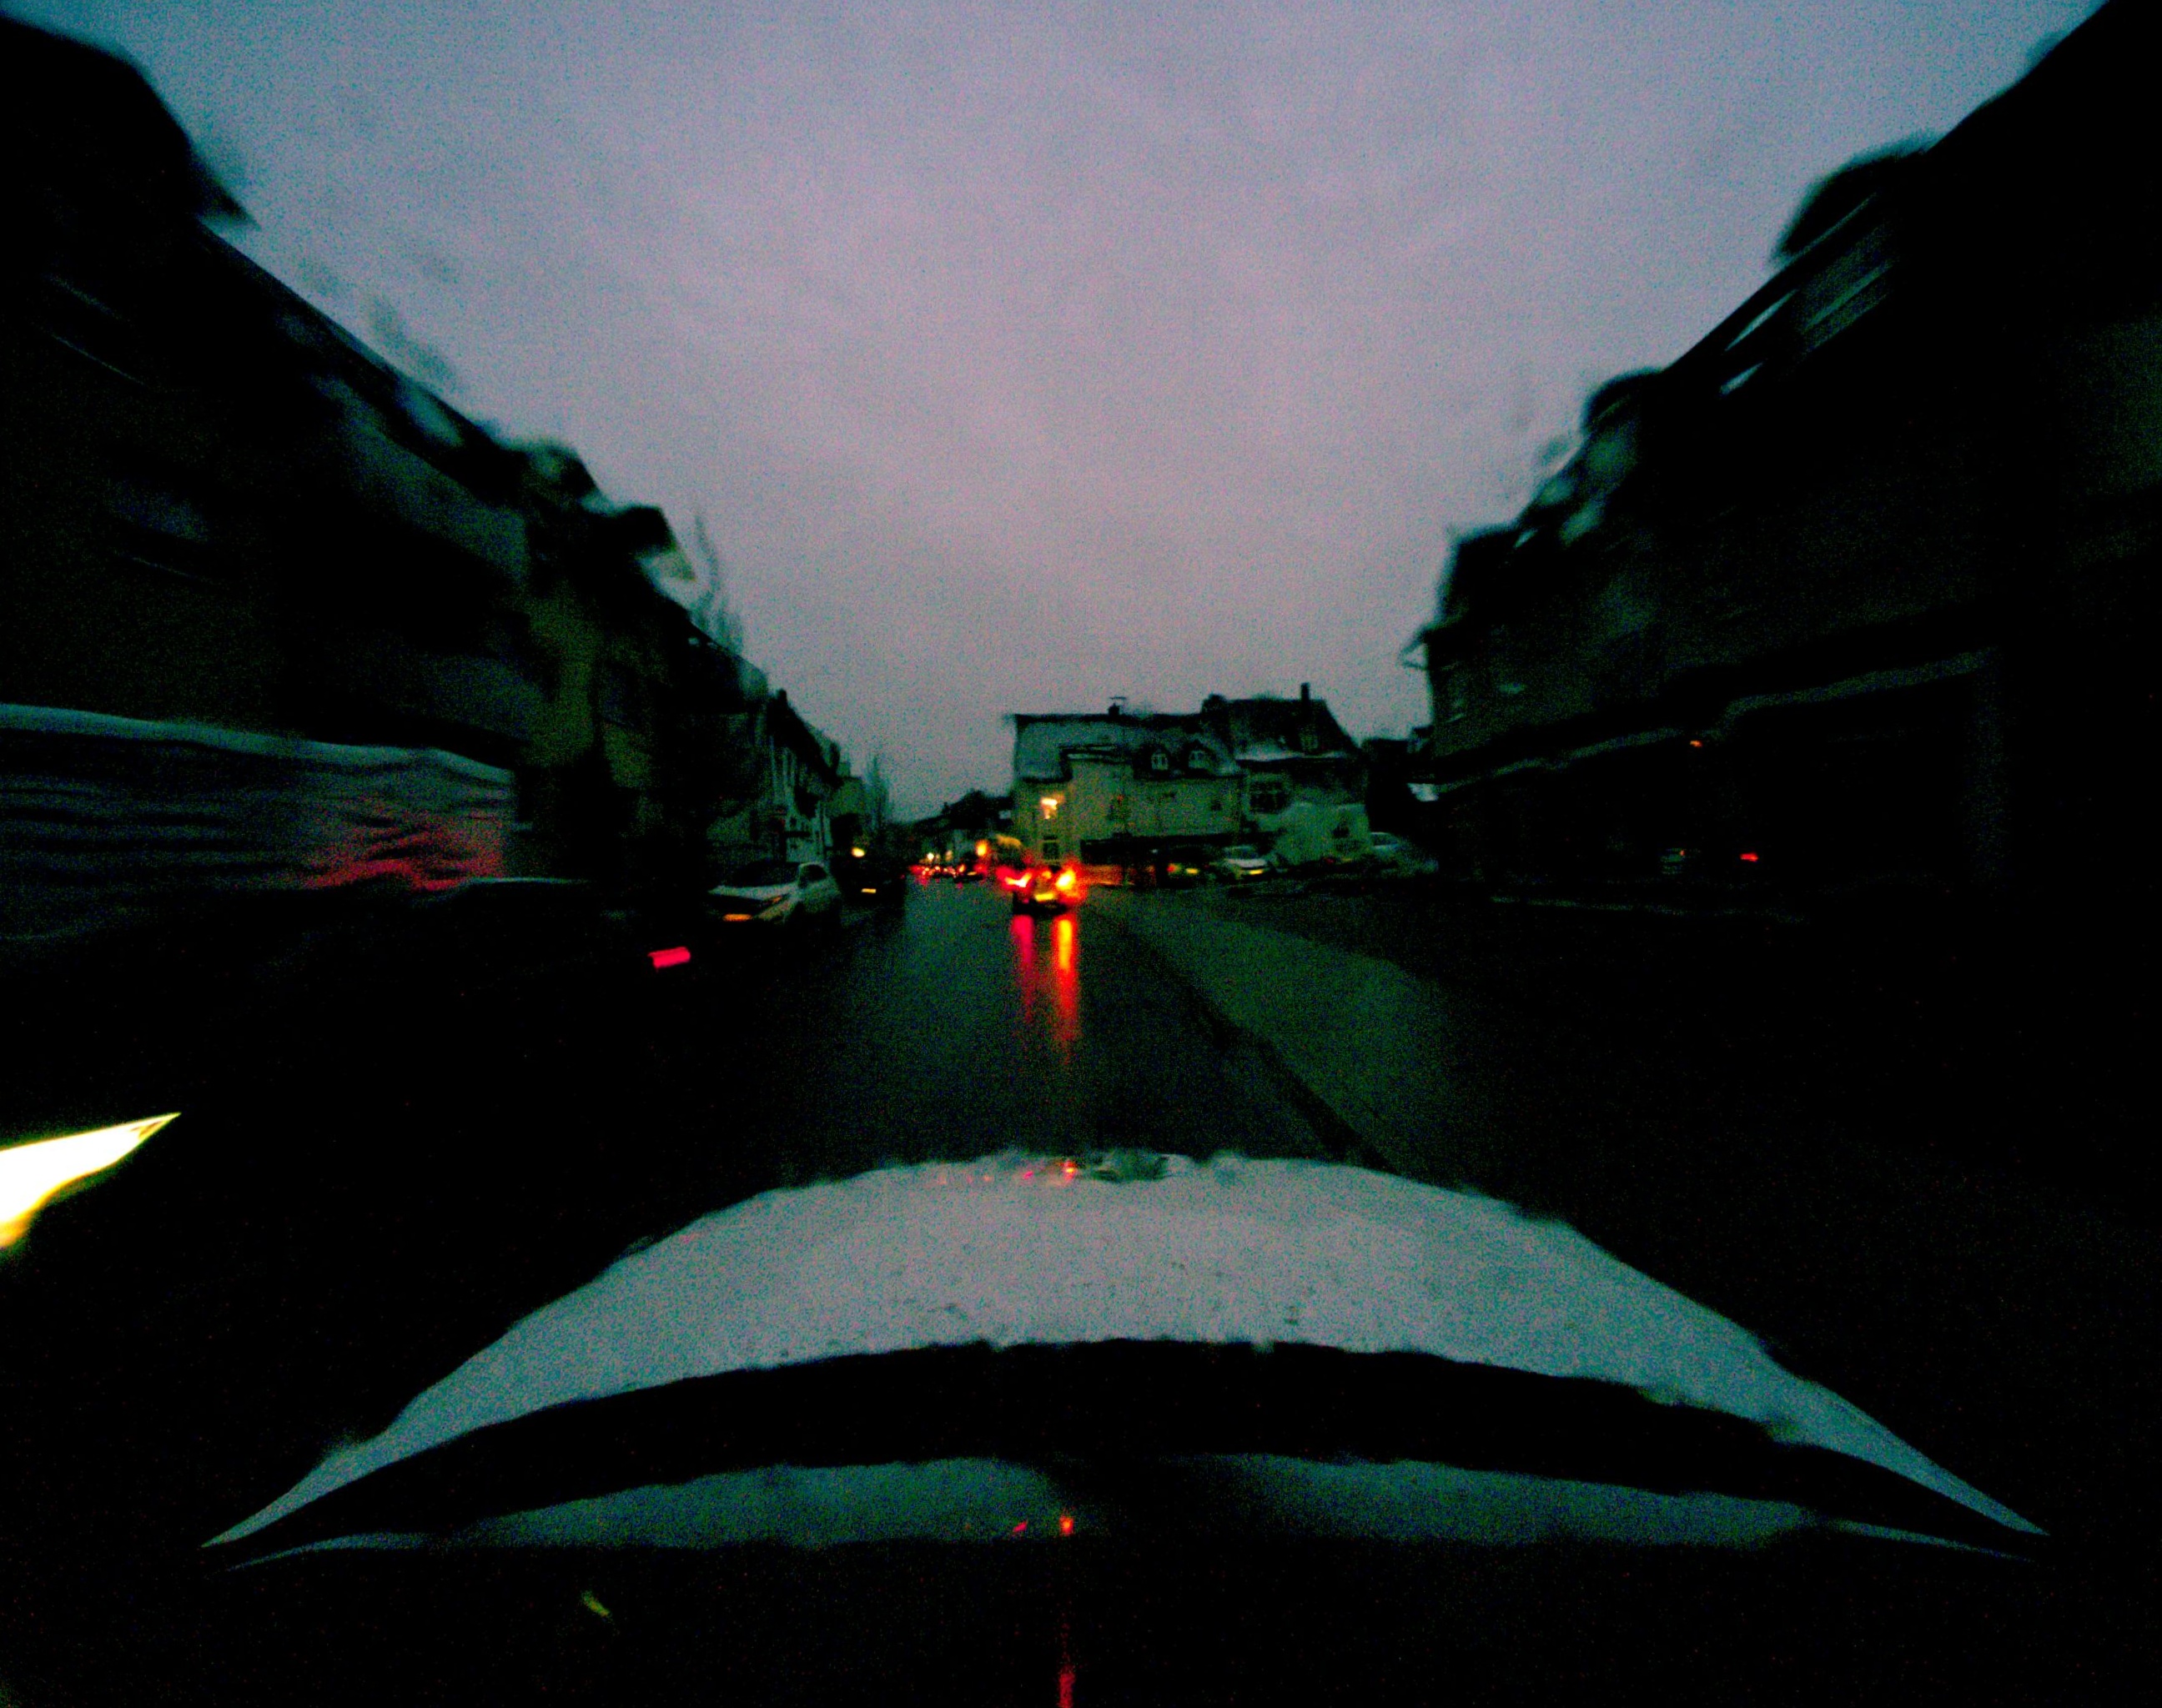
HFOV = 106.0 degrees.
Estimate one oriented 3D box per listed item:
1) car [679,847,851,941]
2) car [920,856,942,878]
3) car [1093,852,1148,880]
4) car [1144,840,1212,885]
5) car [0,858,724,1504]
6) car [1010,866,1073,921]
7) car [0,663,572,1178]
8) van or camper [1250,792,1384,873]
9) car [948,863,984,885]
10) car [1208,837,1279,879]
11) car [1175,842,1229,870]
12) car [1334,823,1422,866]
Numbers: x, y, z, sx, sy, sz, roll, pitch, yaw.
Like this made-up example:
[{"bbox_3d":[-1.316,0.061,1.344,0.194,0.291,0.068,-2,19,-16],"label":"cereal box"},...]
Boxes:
[{"bbox_3d":[-7.014,0.809,18.803,1.988,1.843,5.300,-1,0,-1],"label":"car"},{"bbox_3d":[-15.109,1.284,82.009,1.995,2.202,3.983,-1,0,-12],"label":"car"},{"bbox_3d":[2.143,0.648,45.280,1.891,1.462,3.612,-2,0,-17],"label":"car"},{"bbox_3d":[4.199,0.361,35.978,1.991,1.765,4.341,-4,0,-6],"label":"car"},{"bbox_3d":[-3.635,0.879,3.927,1.912,1.564,4.224,-4,-1,-1],"label":"car"},{"bbox_3d":[-1.245,1.167,25.705,1.810,1.533,3.995,-1,0,-3],"label":"car"},{"bbox_3d":[-6.565,0.354,4.864,2.475,2.560,6.767,-1,-1,3],"label":"car"},{"bbox_3d":[10.215,-0.840,36.111,2.653,3.047,6.706,-5,0,-12],"label":"van or camper"},{"bbox_3d":[-8.756,1.476,61.644,1.999,1.588,3.975,-1,0,-18],"label":"car"},{"bbox_3d":[7.064,0.231,35.855,1.990,1.610,4.168,-4,-1,-4],"label":"car"},{"bbox_3d":[7.019,0.113,47.850,1.822,1.462,4.535,-4,1,-9],"label":"car"},{"bbox_3d":[12.828,-0.375,35.434,1.787,1.553,3.989,-8,0,-7],"label":"car"}]
